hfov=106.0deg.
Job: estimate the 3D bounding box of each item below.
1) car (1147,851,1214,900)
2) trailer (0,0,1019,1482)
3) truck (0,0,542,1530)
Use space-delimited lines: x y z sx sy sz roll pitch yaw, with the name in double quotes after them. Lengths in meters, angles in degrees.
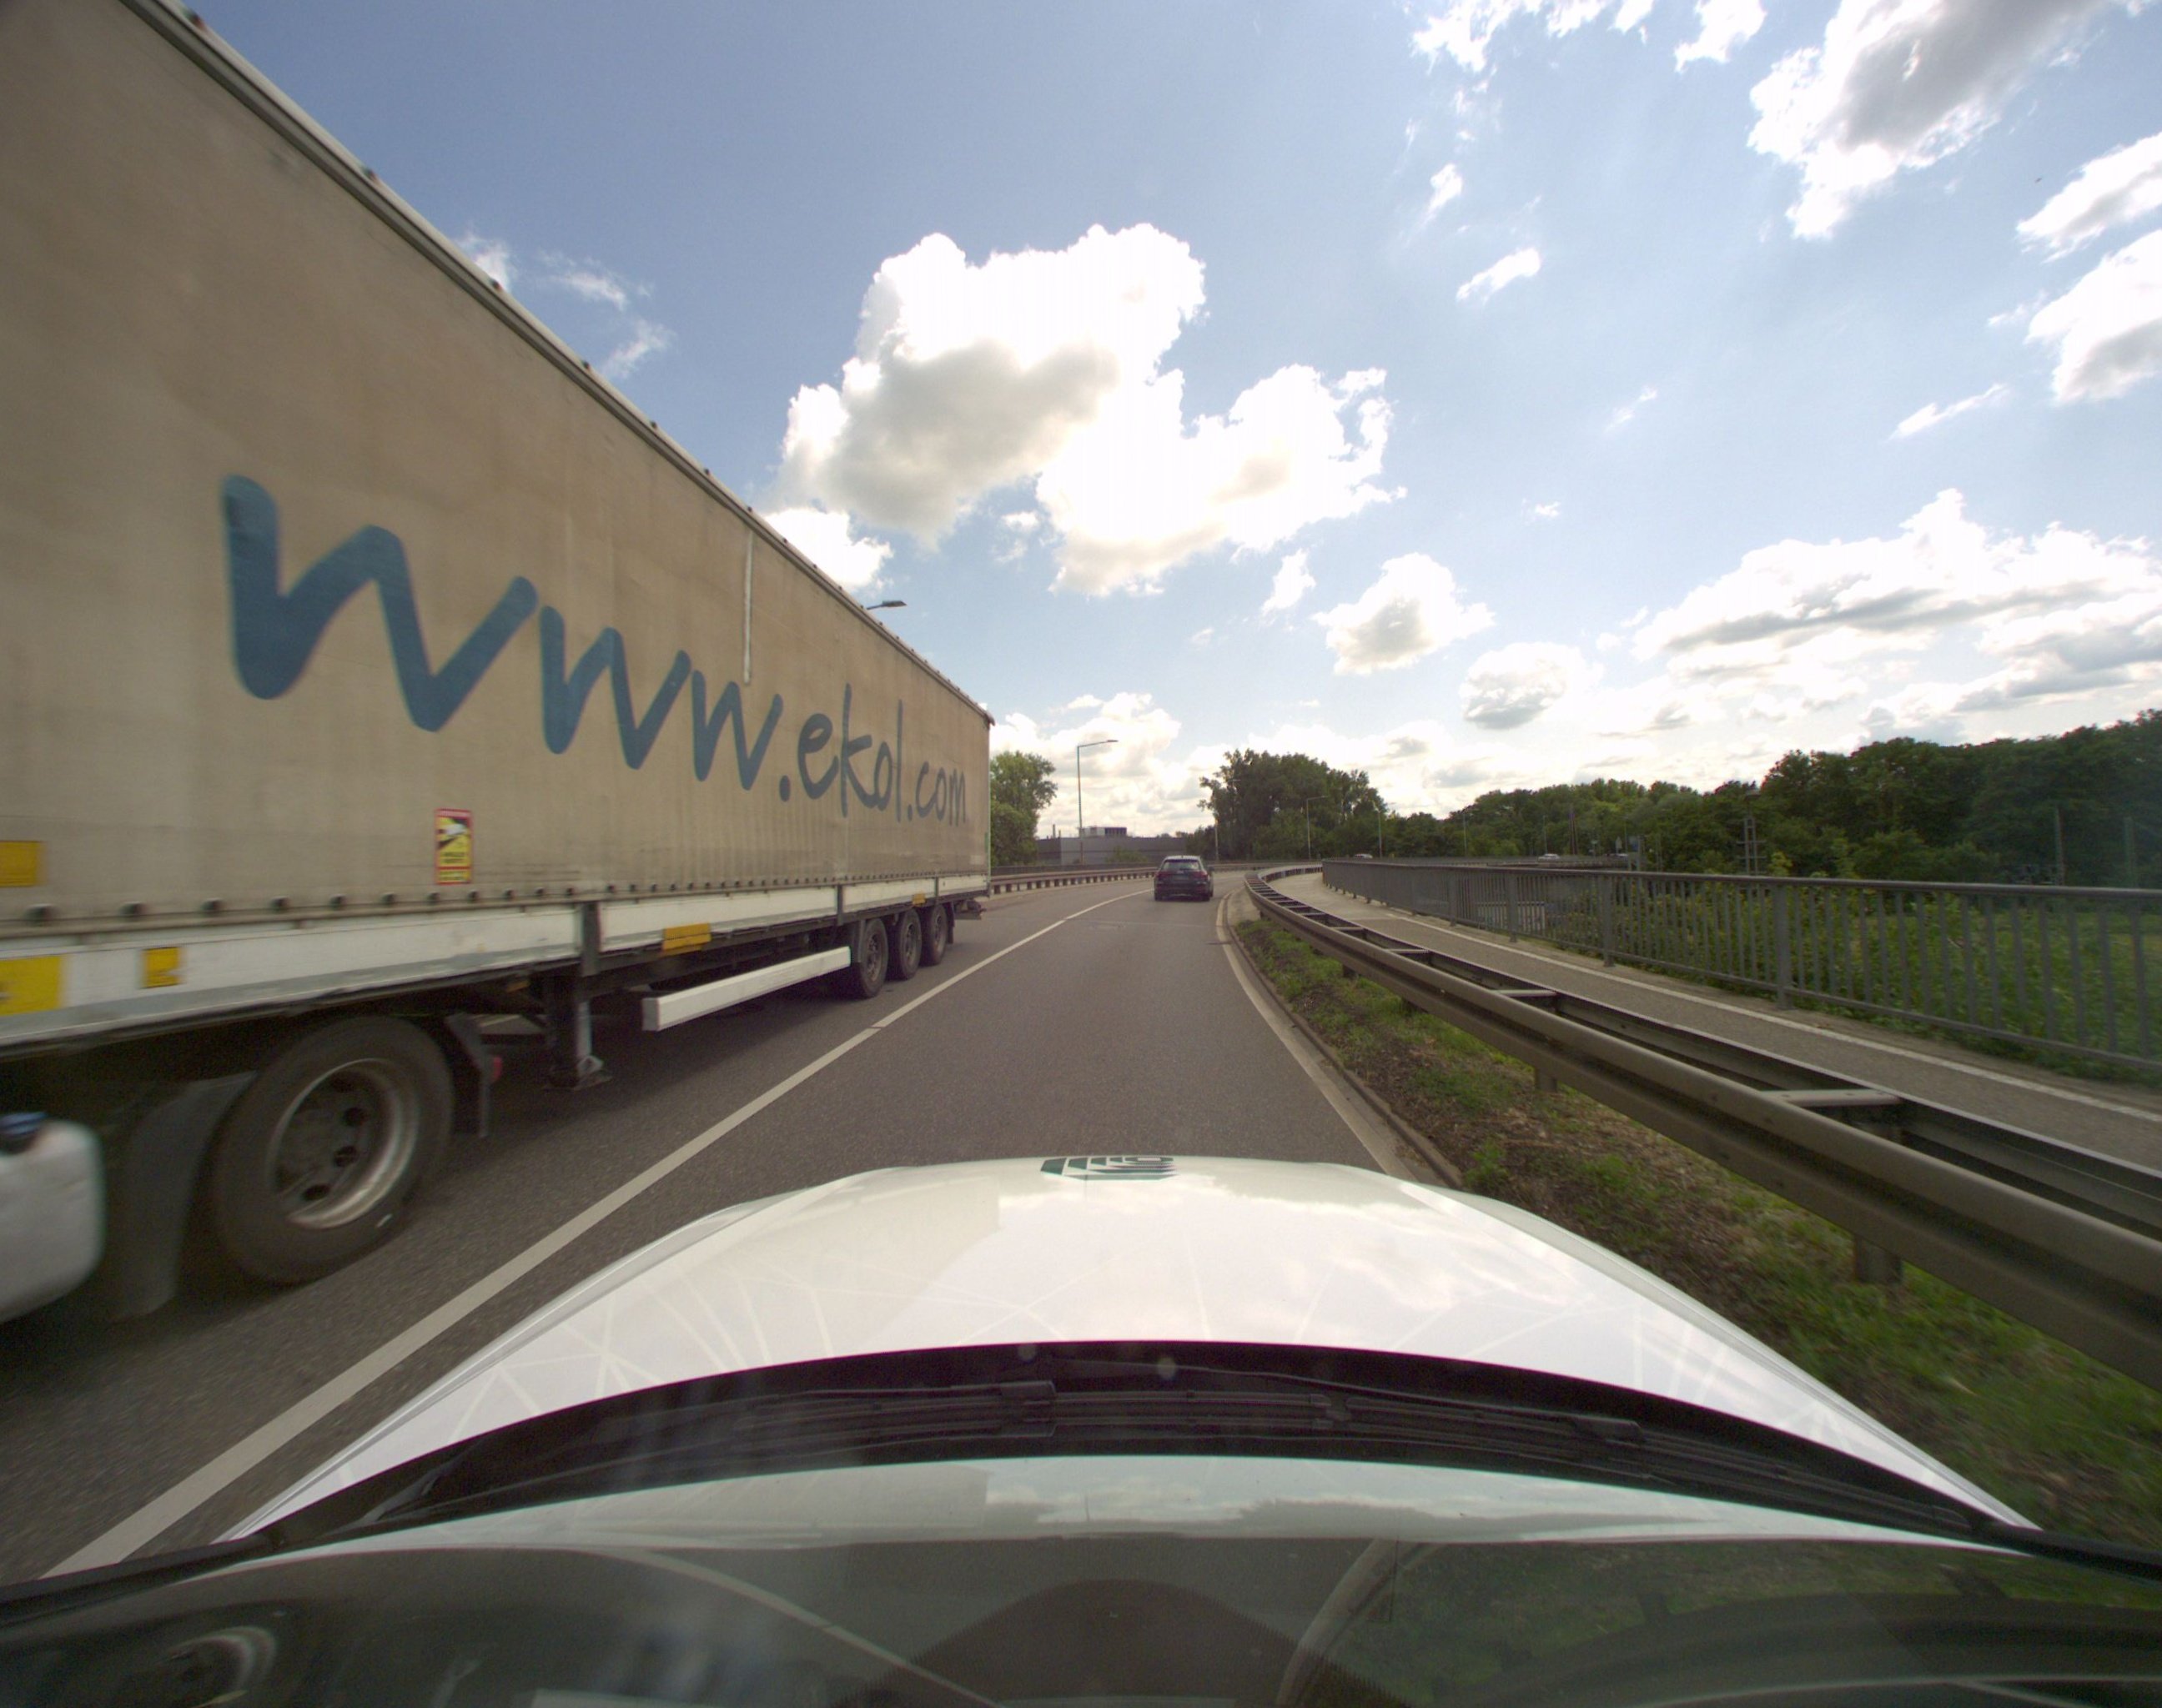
3.418 0.662 27.284 1.815 1.491 4.221 -1 0 12 "car"
-3.341 -0.508 9.304 2.693 4.279 14.254 -2 0 6 "trailer"
-4.070 -0.425 0.931 2.749 4.134 5.660 -2 0 4 "truck"
